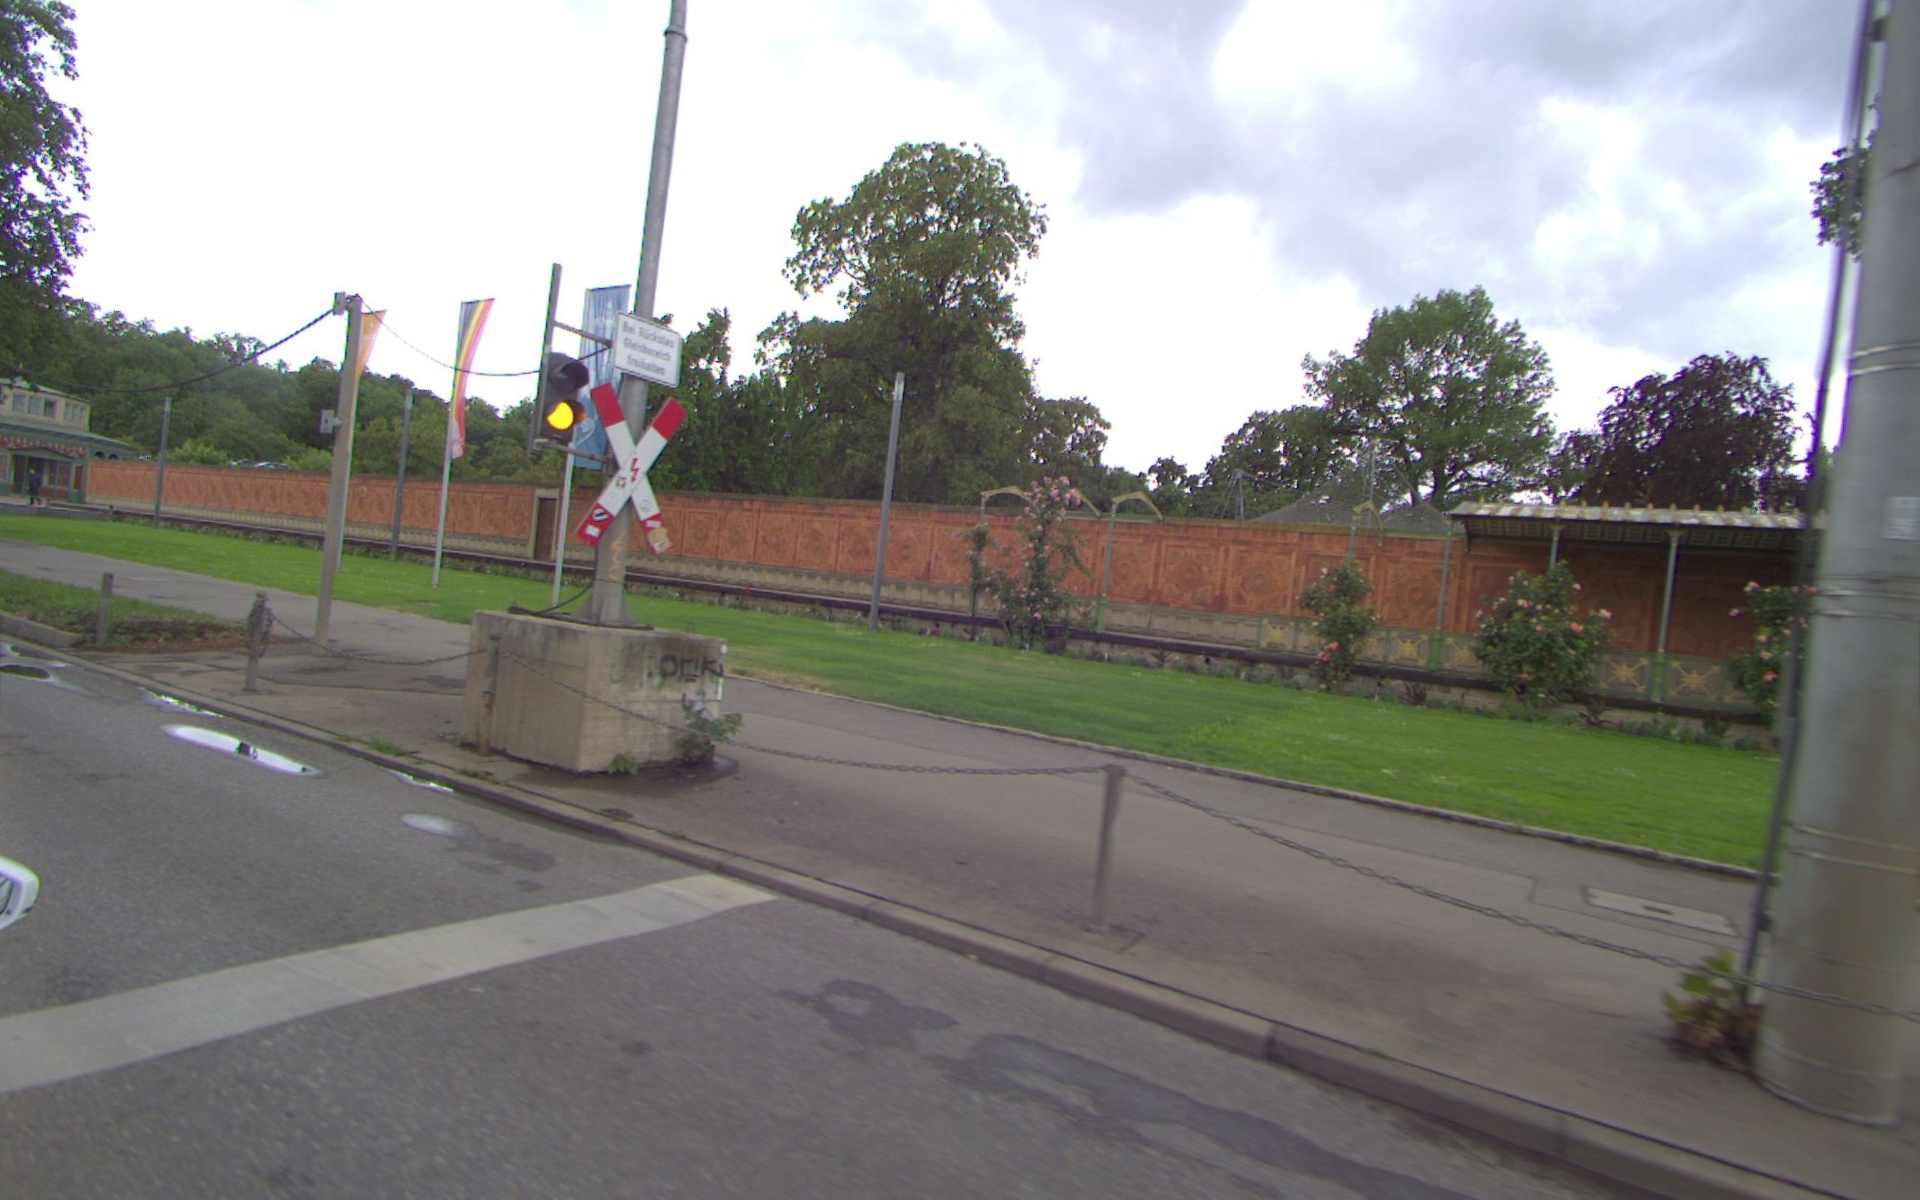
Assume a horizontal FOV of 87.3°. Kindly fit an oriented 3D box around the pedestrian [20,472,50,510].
[{"bbox_3d":[-49.394,-5.802,53.729,0.944,1.859,0.544,8,-2,-36],"label":"pedestrian"}]
